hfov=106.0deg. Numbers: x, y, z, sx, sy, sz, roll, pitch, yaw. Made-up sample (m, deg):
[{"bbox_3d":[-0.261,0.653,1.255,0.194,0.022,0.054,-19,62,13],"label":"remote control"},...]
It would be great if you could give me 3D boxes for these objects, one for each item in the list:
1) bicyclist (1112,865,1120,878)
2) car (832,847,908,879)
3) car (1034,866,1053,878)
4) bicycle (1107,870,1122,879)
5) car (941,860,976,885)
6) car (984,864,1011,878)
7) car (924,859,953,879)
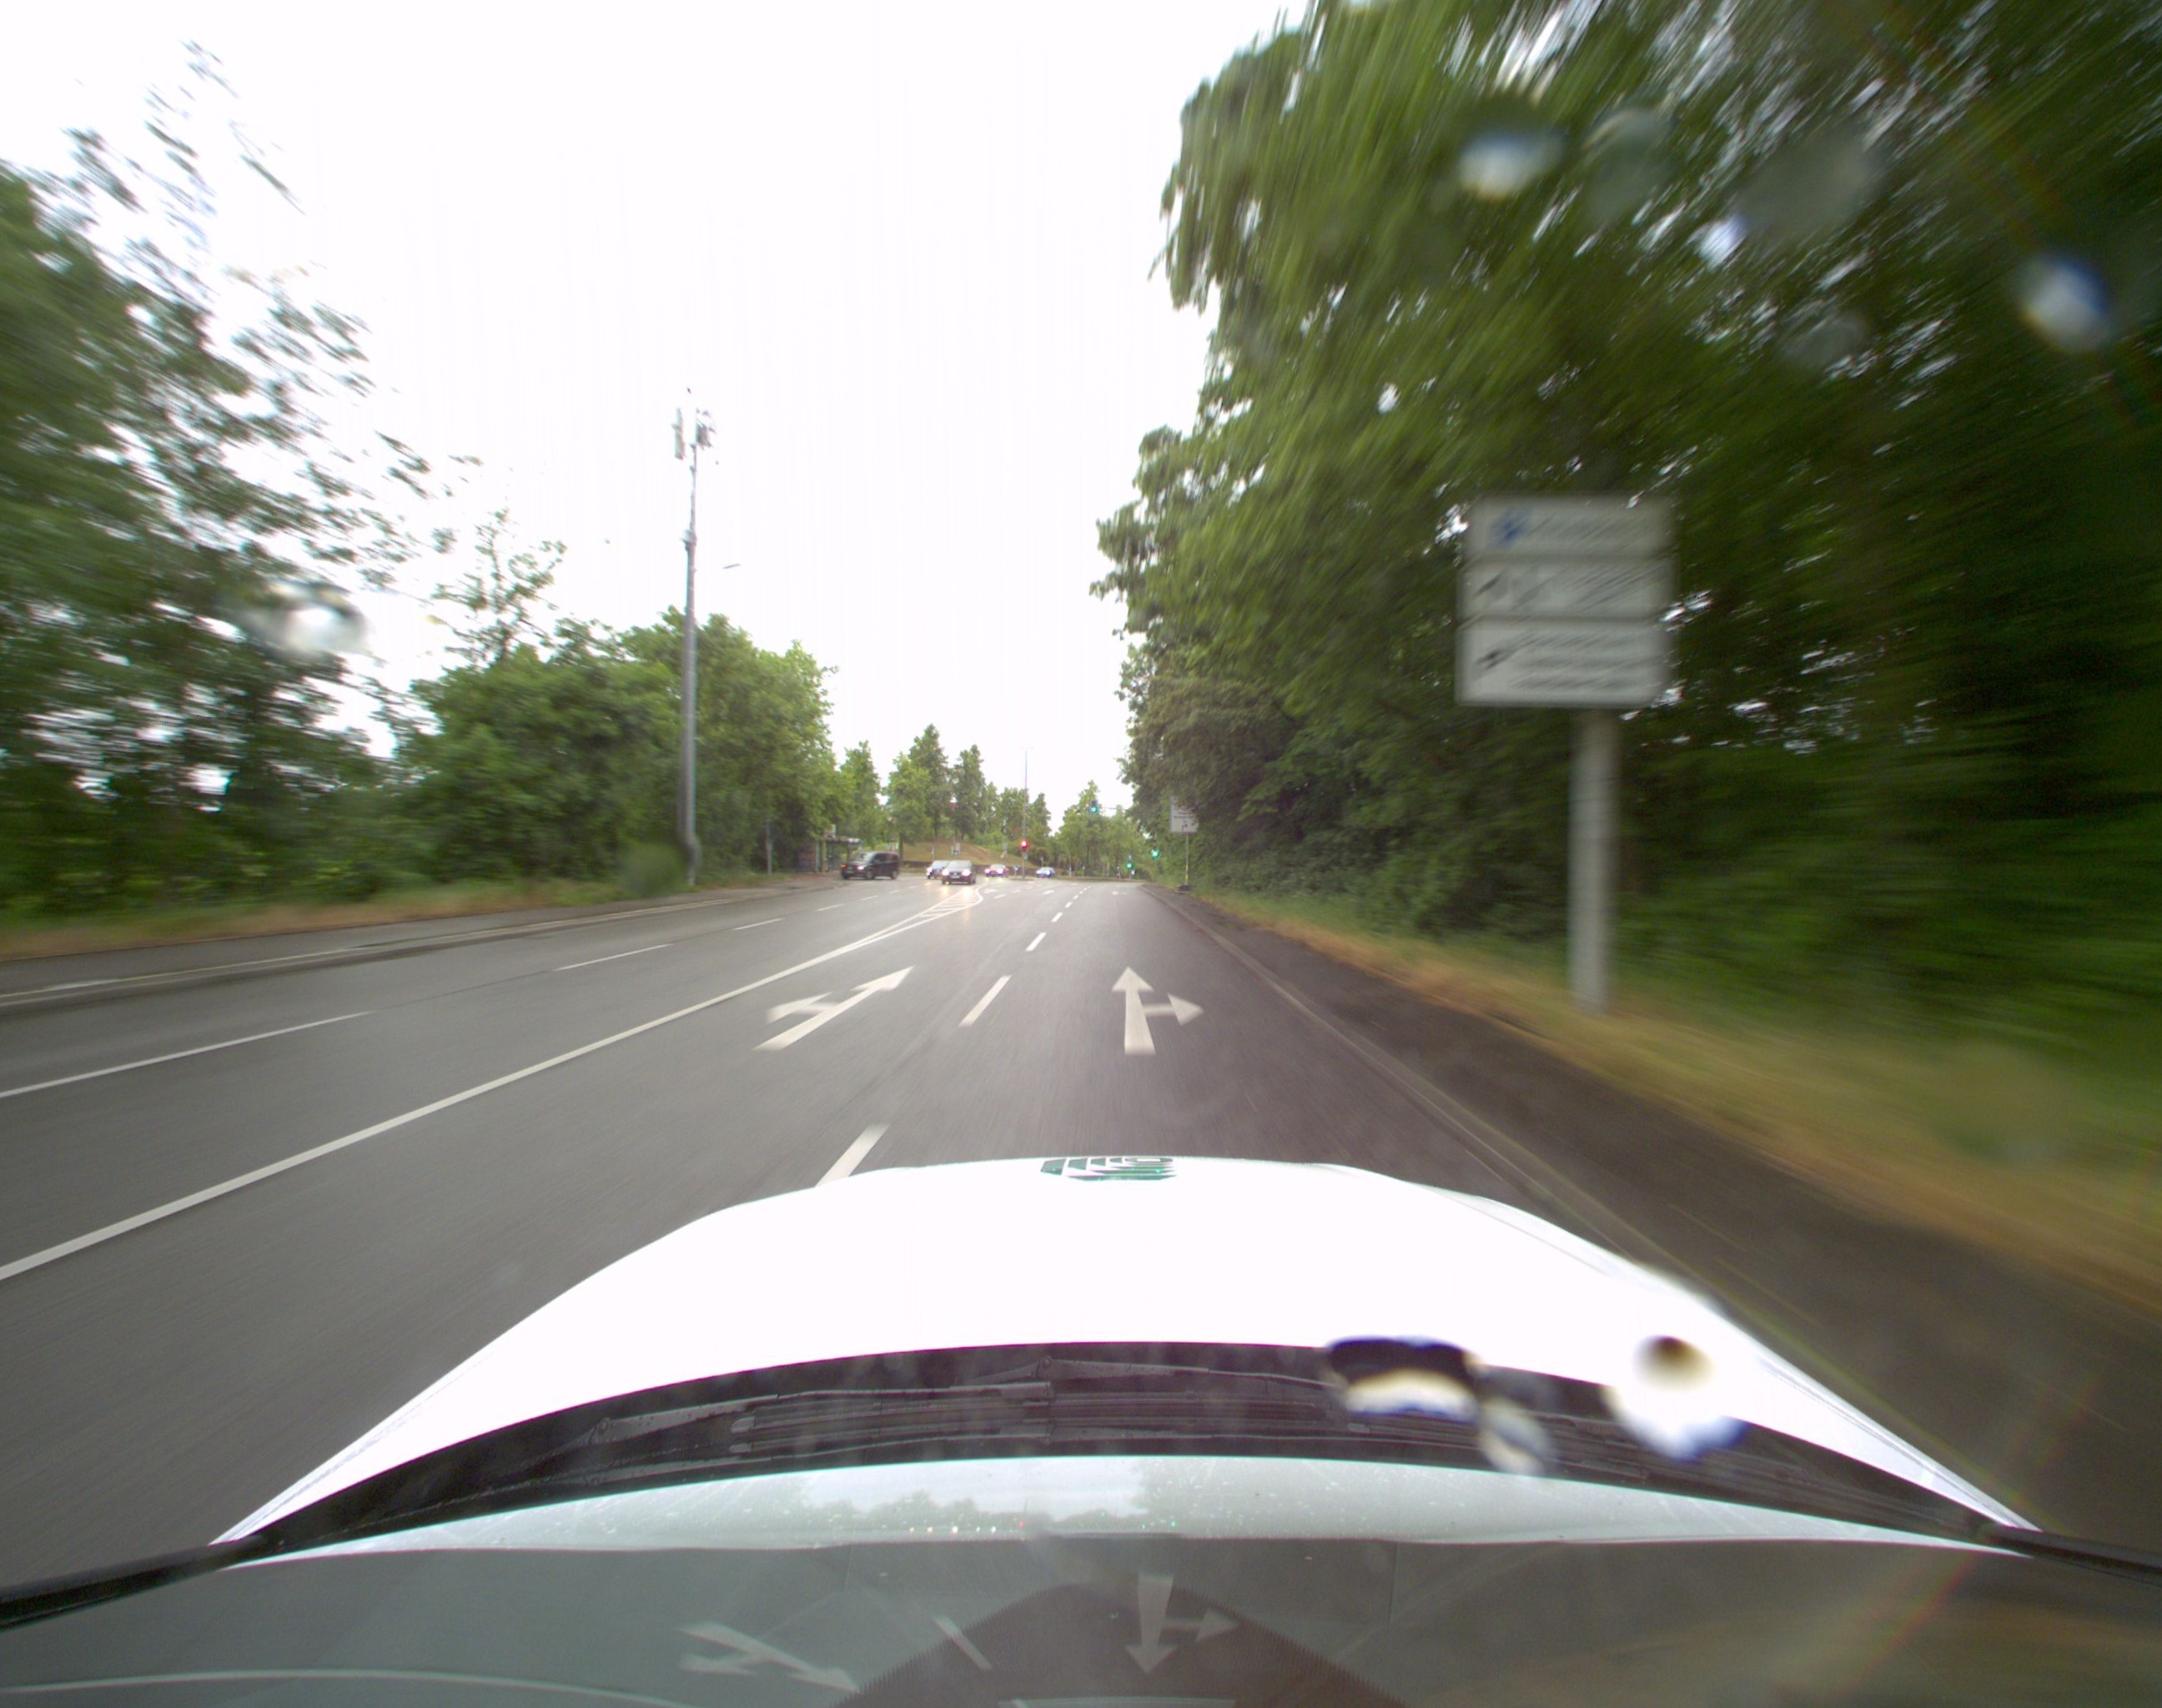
[{"bbox_3d":[4.802,2.402,111.938,0.805,1.753,0.716,5,-6,-40],"label":"bicyclist"},{"bbox_3d":[-13.927,0.634,54.105,2.084,1.946,5.188,0,-2,23],"label":"car"},{"bbox_3d":[-4.980,2.347,107.762,1.984,1.490,3.942,-1,-1,5],"label":"car"},{"bbox_3d":[4.599,2.776,111.688,2.151,1.143,0.547,4,-3,-40],"label":"bicycle"},{"bbox_3d":[-7.455,1.096,49.803,1.697,1.427,4.073,1,0,-4],"label":"car"},{"bbox_3d":[-8.583,1.702,84.421,1.866,1.374,4.392,1,0,6],"label":"car"},{"bbox_3d":[-10.557,1.089,60.666,1.627,1.394,3.996,0,0,-3],"label":"car"}]
